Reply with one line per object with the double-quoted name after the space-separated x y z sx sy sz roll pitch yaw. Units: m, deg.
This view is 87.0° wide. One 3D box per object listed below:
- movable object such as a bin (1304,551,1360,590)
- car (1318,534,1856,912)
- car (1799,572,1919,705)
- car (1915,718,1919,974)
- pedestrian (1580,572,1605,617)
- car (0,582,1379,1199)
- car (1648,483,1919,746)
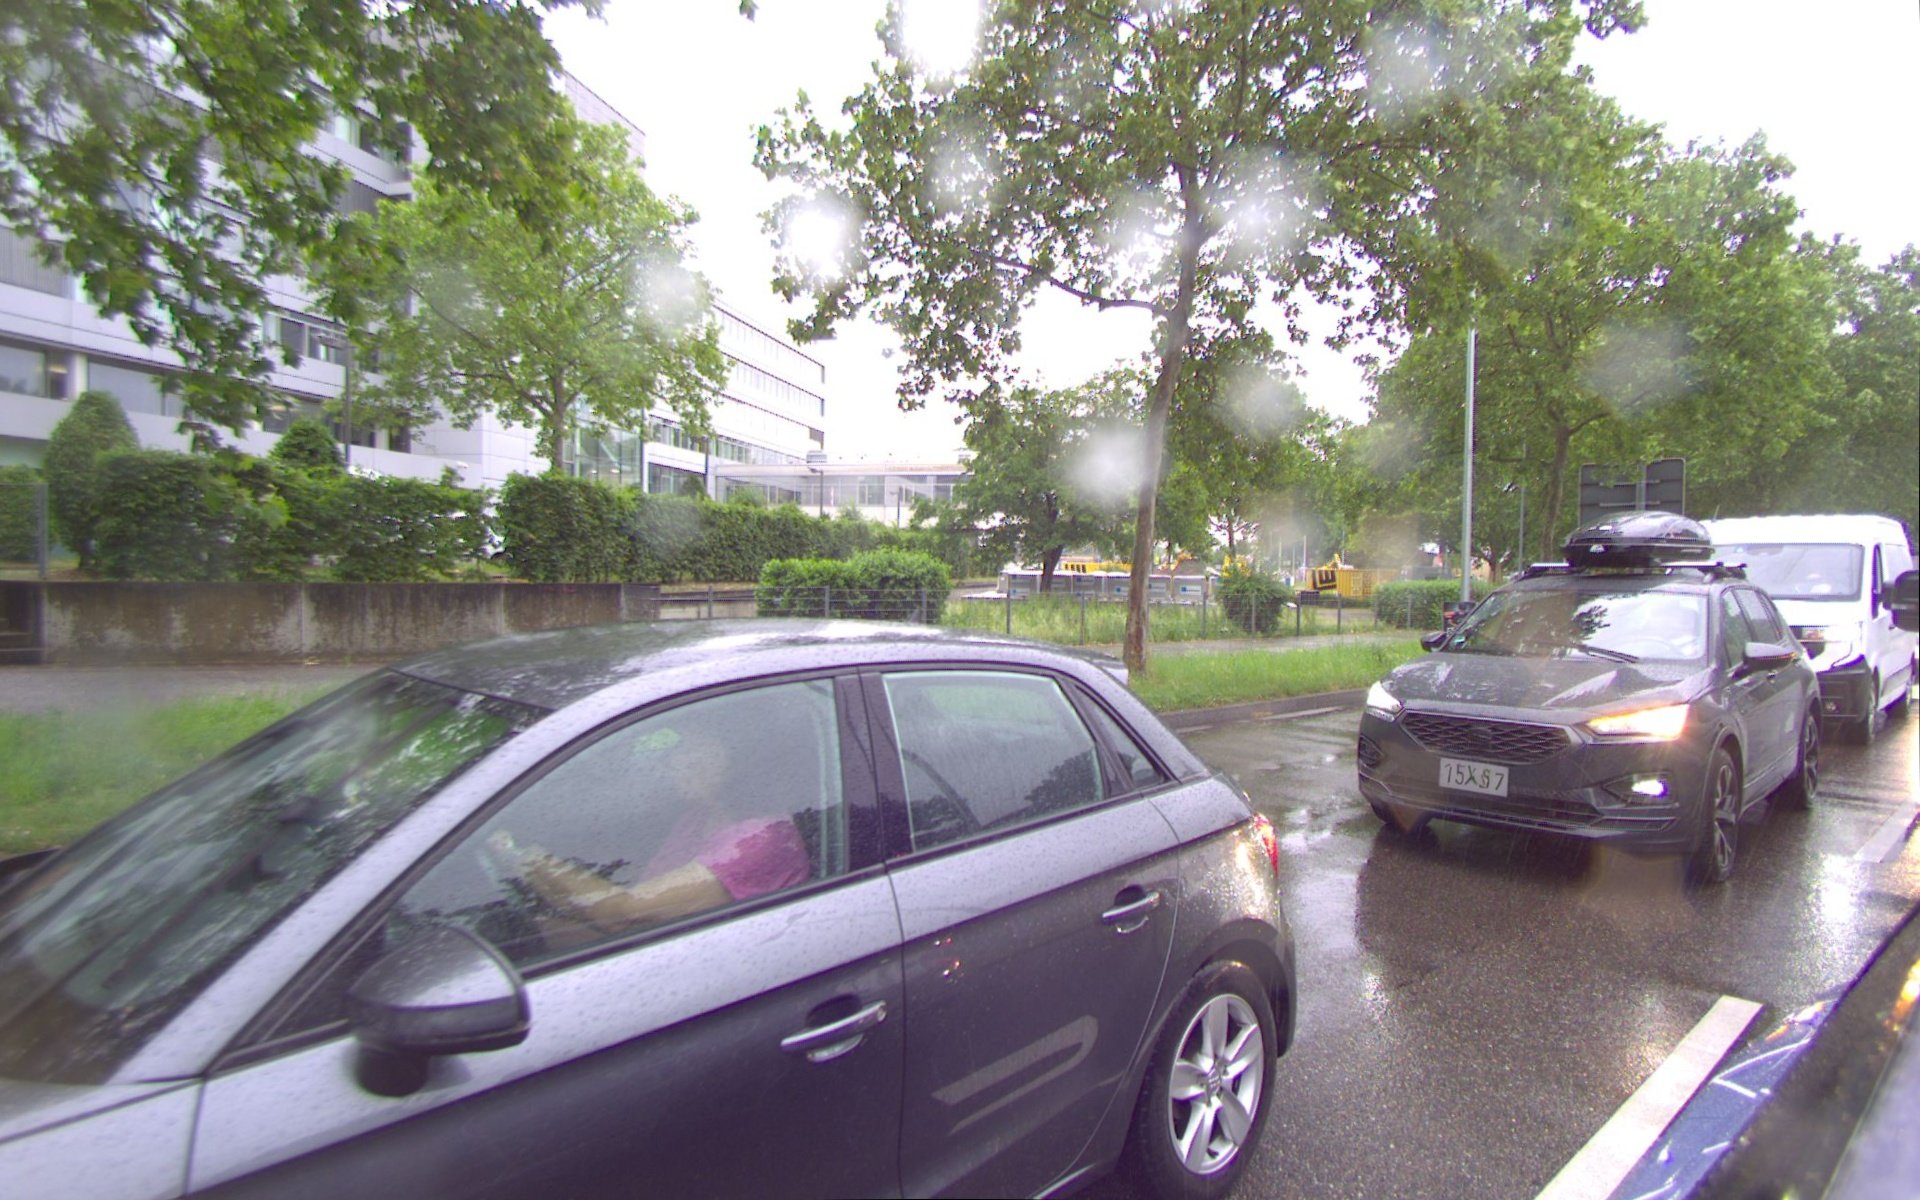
34.489 -2.682 93.963 1.879 3.478 4.946 0 0 -26 "movable object such as a bin"
4.385 0.528 6.767 4.347 1.719 1.892 0 1 -42 "car"
15.362 0.539 16.641 4.470 1.937 1.805 0 1 -43 "car"
6.373 0.158 4.992 5.599 2.544 2.024 0 1 -43 "car"
24.454 -0.212 39.099 0.645 1.738 0.645 0 0 -40 "pedestrian"
-0.781 0.693 2.226 3.715 1.445 1.679 0 1 -41 "car"
10.006 0.100 12.000 5.227 2.476 1.892 0 1 -43 "car"
